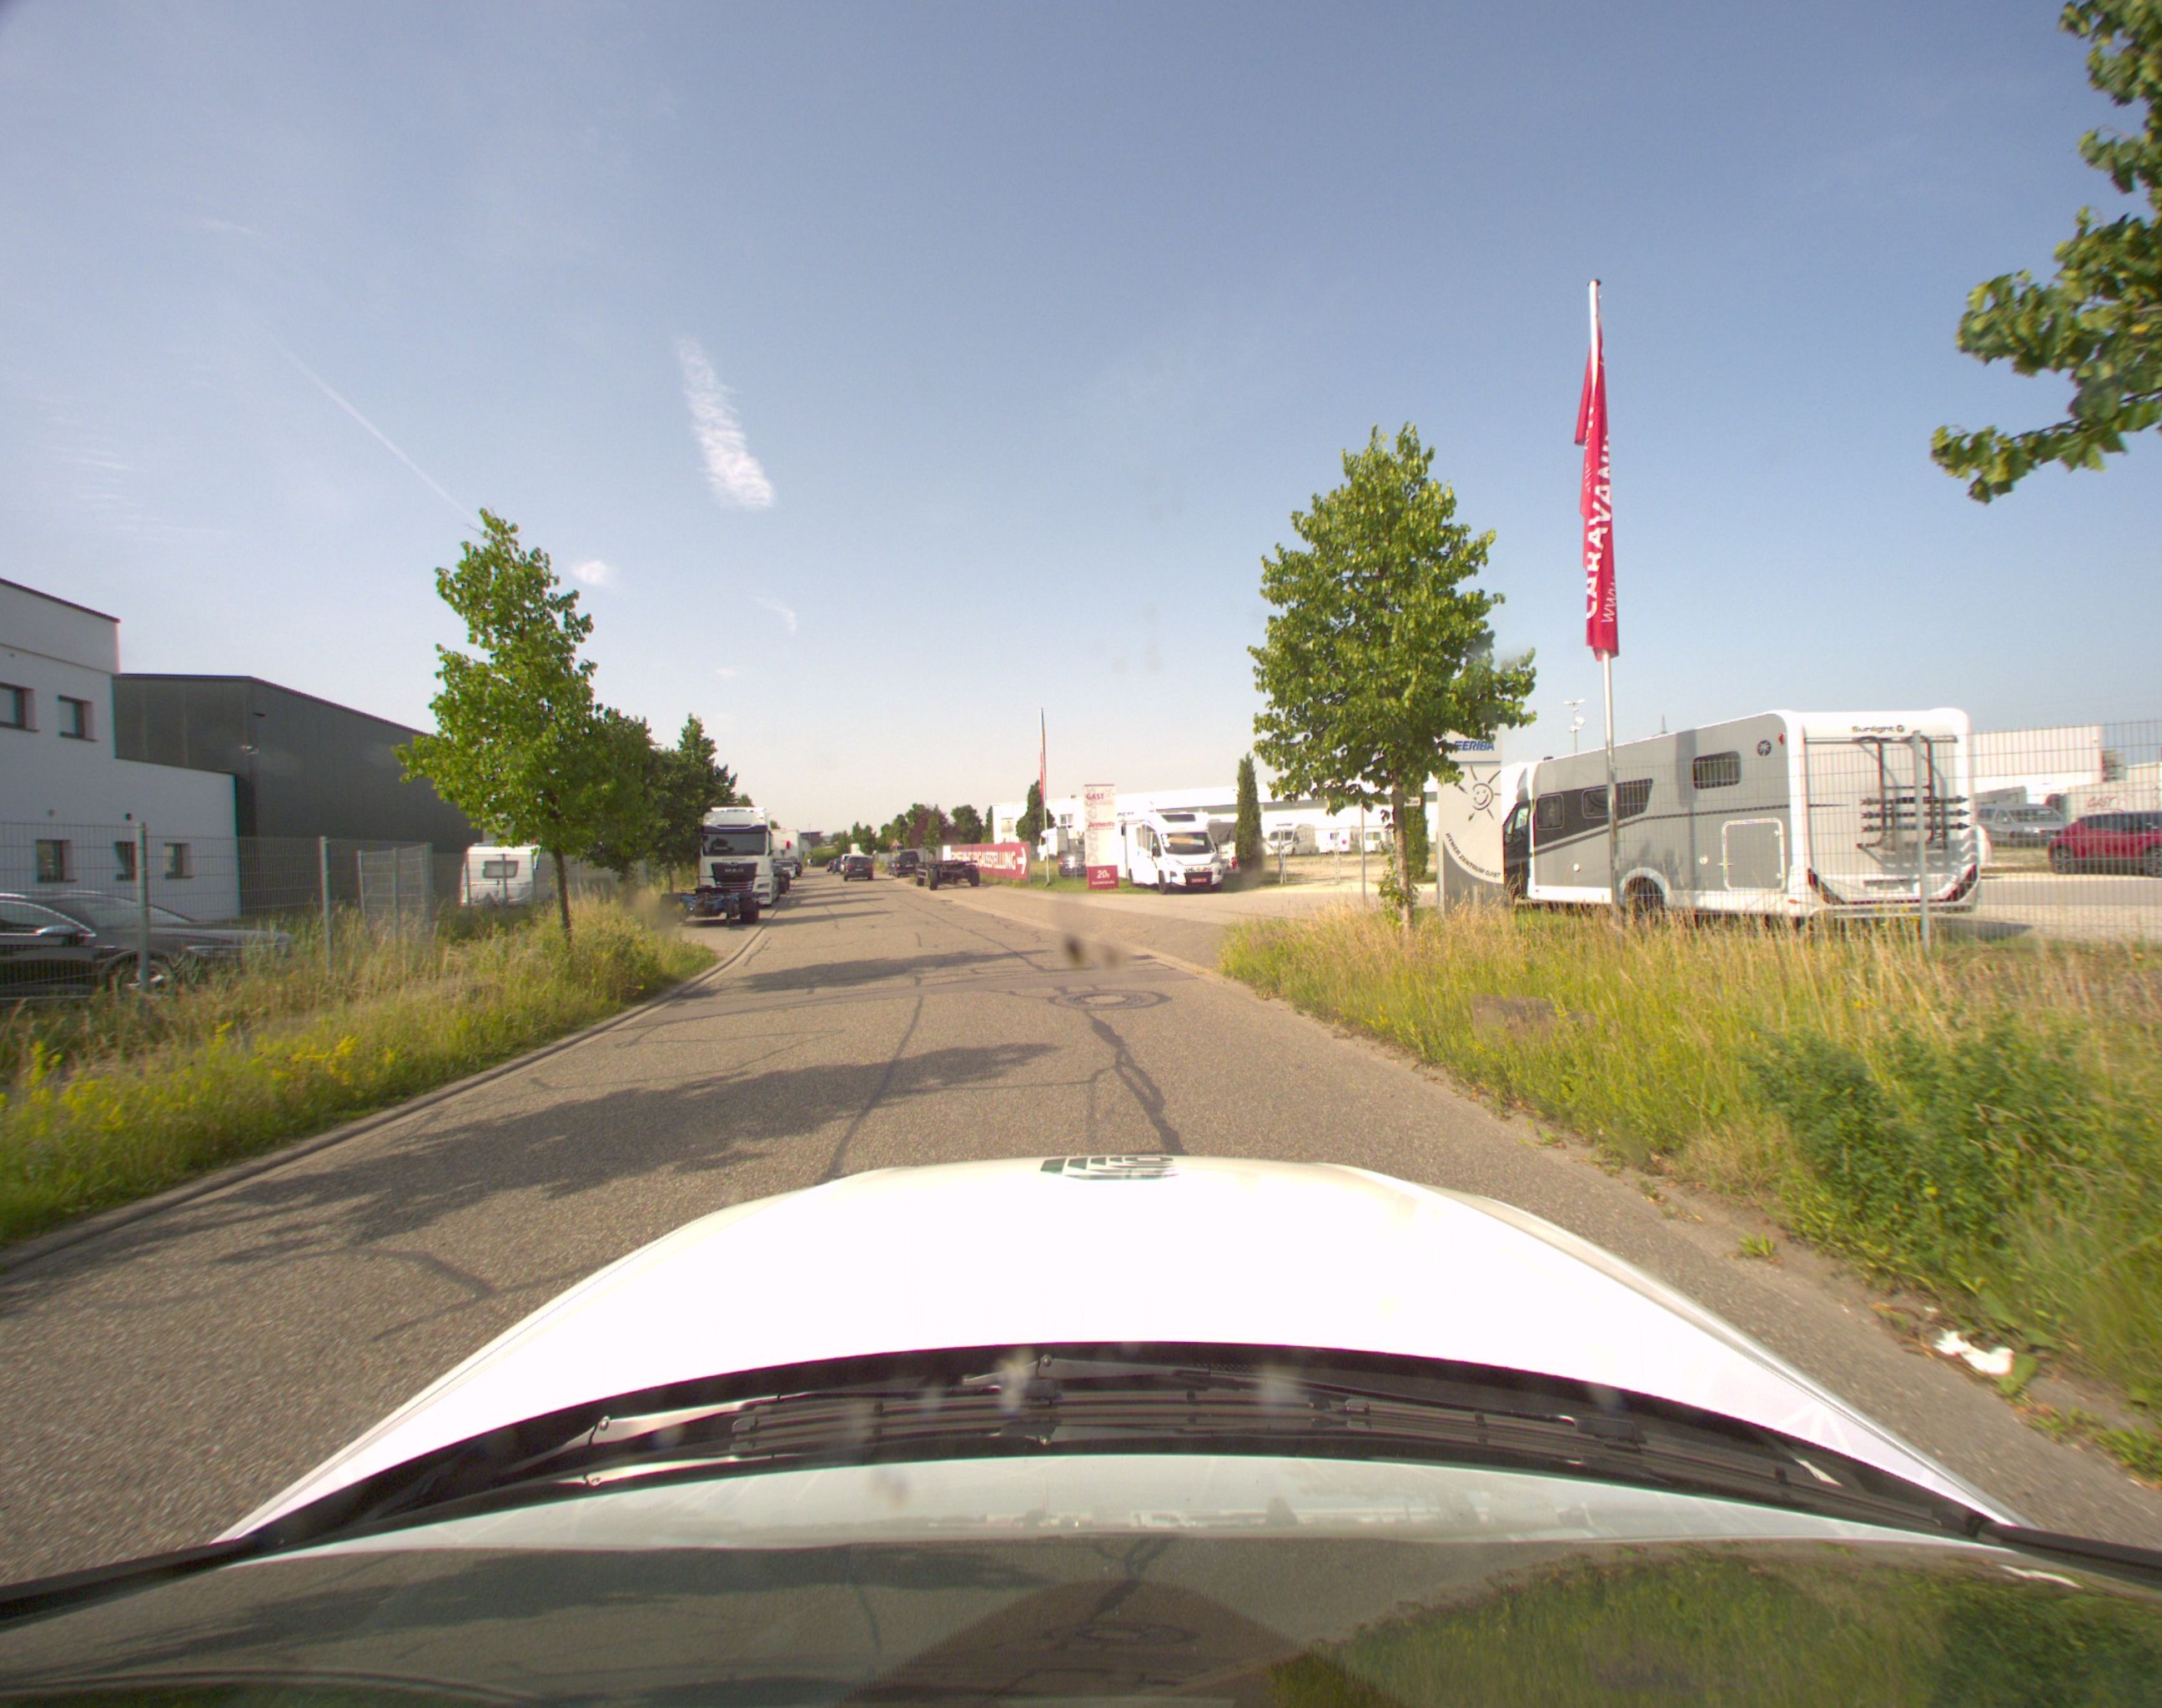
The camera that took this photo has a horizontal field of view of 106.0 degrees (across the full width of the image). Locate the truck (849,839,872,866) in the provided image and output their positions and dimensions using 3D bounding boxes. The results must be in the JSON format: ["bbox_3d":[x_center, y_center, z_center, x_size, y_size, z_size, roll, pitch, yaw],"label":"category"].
[{"bbox_3d":[-31.798,-0.284,117.313,2.894,3.585,8.017,-4,1,-16],"label":"truck"}]

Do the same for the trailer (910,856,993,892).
[{"bbox_3d":[-6.854,0.906,41.766,2.631,1.388,9.396,-5,2,-18],"label":"trailer"}]

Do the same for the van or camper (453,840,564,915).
[{"bbox_3d":[-22.176,0.849,31.802,2.314,2.560,4.918,-3,1,-21],"label":"van or camper"}]

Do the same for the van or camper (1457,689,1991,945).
[{"bbox_3d":[9.076,-0.473,12.970,2.344,2.847,7.332,-2,1,-4],"label":"van or camper"}]

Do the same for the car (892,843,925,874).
[{"bbox_3d":[-12.411,0.320,58.552,1.823,1.978,3.978,-6,2,-16],"label":"car"}]

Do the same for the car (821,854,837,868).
[{"bbox_3d":[-33.799,0.974,109.205,1.999,1.771,3.975,-3,1,-18],"label":"car"}]

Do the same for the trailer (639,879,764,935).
[{"bbox_3d":[-10.527,1.402,23.077,2.582,1.100,5.168,-3,1,-19],"label":"trailer"}]

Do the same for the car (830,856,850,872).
[{"bbox_3d":[-26.801,1.064,90.541,1.999,1.640,3.975,-3,1,-18],"label":"car"}]

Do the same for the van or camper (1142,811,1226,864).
[{"bbox_3d":[6.789,-1.156,52.402,2.772,3.083,8.018,-2,2,26],"label":"van or camper"}]

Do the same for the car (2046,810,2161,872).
[{"bbox_3d":[25.139,-0.323,18.959,1.695,1.379,4.021,0,2,21],"label":"car"}]

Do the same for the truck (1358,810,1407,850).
[{"bbox_3d":[23.083,-1.865,62.093,2.427,2.826,8.052,-2,1,28],"label":"truck"}]

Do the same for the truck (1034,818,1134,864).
[{"bbox_3d":[0.249,-1.223,77.870,9.199,3.972,2.473,-2,1,24],"label":"truck"}]

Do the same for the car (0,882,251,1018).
[{"bbox_3d":[-13.028,1.171,10.048,3.505,1.454,1.586,-2,0,-21],"label":"car"}]

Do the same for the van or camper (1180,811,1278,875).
[{"bbox_3d":[6.829,-0.567,36.758,2.460,2.558,6.666,-2,2,27],"label":"van or camper"}]

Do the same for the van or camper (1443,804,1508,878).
[{"bbox_3d":[15.268,-0.546,31.730,1.975,2.534,6.187,-2,1,24],"label":"van or camper"}]

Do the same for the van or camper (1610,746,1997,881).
[{"bbox_3d":[18.624,-0.943,21.652,7.196,3.031,2.599,-2,0,21],"label":"van or camper"}]

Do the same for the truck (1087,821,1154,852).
[{"bbox_3d":[3.475,-1.544,69.047,2.427,2.471,8.052,-2,1,28],"label":"truck"}]

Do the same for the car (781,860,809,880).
[{"bbox_3d":[-22.471,1.223,64.131,1.815,1.427,3.977,-3,1,-17],"label":"car"}]

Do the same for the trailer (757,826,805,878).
[{"bbox_3d":[-28.104,-0.147,76.933,3.413,4.339,13.836,-3,1,-18],"label":"trailer"}]

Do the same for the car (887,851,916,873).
[{"bbox_3d":[-14.112,0.585,63.775,1.823,1.449,3.780,-6,2,-16],"label":"car"}]

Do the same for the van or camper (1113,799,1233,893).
[{"bbox_3d":[3.121,-0.300,29.694,2.331,2.943,6.947,-3,1,-10],"label":"van or camper"}]

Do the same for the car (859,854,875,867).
[{"bbox_3d":[-28.195,0.850,107.192,1.823,1.449,3.780,-4,2,-16],"label":"car"}]

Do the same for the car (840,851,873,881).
[{"bbox_3d":[-15.326,0.801,55.490,1.999,1.804,3.977,-3,2,-17],"label":"car"}]

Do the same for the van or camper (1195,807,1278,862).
[{"bbox_3d":[9.878,-1.267,50.895,2.922,3.083,8.018,-2,2,26],"label":"van or camper"}]

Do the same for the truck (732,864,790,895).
[{"bbox_3d":[-17.013,1.292,43.613,2.532,1.265,6.485,-3,1,-19],"label":"truck"}]

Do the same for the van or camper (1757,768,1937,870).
[{"bbox_3d":[25.019,-1.065,27.008,2.299,2.864,6.648,-2,0,25],"label":"van or camper"}]

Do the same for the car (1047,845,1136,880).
[{"bbox_3d":[0.545,0.383,39.595,2.145,1.476,4.025,-2,1,42],"label":"car"}]

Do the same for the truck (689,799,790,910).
[{"bbox_3d":[-14.565,-0.012,35.724,2.632,3.928,12.844,-2,0,-17],"label":"truck"}]

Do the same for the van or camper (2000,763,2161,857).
[{"bbox_3d":[31.312,-1.267,24.587,2.198,2.525,6.648,-2,0,25],"label":"van or camper"}]

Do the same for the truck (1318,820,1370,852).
[{"bbox_3d":[20.552,-1.438,63.453,2.427,2.265,8.052,-2,1,28],"label":"truck"}]

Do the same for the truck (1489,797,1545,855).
[{"bbox_3d":[24.097,-1.557,45.116,2.427,2.845,8.052,-2,1,28],"label":"truck"}]

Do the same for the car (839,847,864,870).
[{"bbox_3d":[-21.057,0.394,74.849,1.996,1.899,4.447,-2,2,-14],"label":"car"}]

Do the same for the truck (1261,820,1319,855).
[{"bbox_3d":[16.201,-1.356,62.664,2.427,2.471,8.052,-2,1,28],"label":"truck"}]
